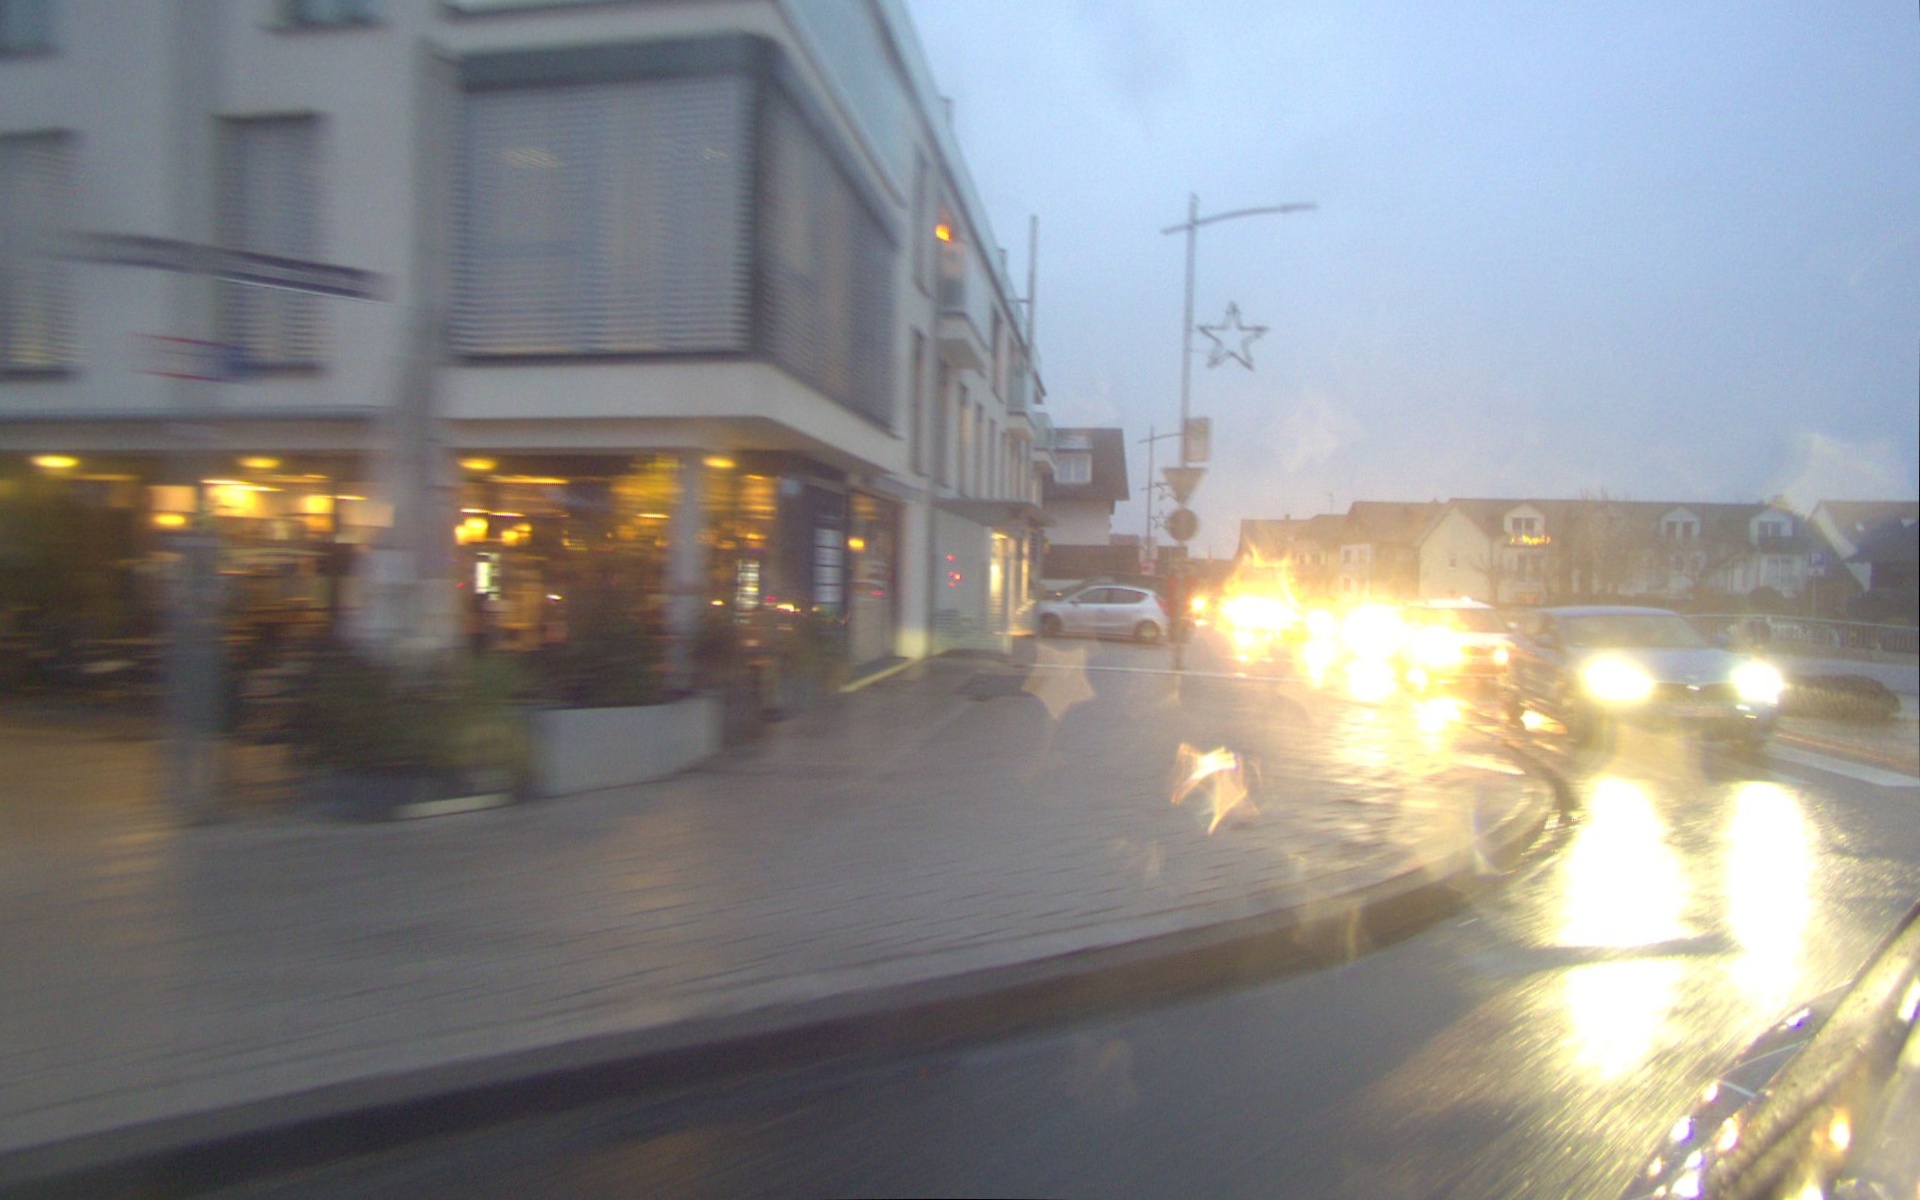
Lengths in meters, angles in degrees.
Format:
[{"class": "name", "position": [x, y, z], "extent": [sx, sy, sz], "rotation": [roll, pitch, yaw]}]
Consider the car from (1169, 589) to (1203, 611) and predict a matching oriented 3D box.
[{"class": "car", "position": [21.393, -0.036, 96.104], "extent": [1.960, 2.039, 4.005], "rotation": [0, 1, -6]}]

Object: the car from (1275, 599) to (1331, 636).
[{"class": "car", "position": [14.372, 0.702, 42.529], "extent": [1.715, 1.461, 3.987], "rotation": [0, 0, 11]}]

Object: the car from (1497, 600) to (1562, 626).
[{"class": "car", "position": [37.146, 0.829, 66.094], "extent": [1.766, 1.487, 4.258], "rotation": [1, 1, -1]}]

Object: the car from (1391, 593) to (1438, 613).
[{"class": "car", "position": [36.812, 0.196, 82.110], "extent": [1.643, 1.487, 4.021], "rotation": [3, 0, -5]}]

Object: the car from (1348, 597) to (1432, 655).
[{"class": "car", "position": [11.809, 0.661, 28.011], "extent": [1.549, 1.487, 3.601], "rotation": [0, 0, 14]}]

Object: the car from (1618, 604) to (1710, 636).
[{"class": "car", "position": [37.155, 1.032, 53.546], "extent": [1.766, 1.487, 4.258], "rotation": [1, 1, -1]}]

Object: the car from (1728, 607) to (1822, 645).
[{"class": "car", "position": [36.554, 1.149, 45.509], "extent": [1.452, 1.527, 3.501], "rotation": [1, 1, 2]}]

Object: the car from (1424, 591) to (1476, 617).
[{"class": "car", "position": [36.990, 0.301, 76.521], "extent": [1.765, 1.850, 4.258], "rotation": [1, 1, -1]}]

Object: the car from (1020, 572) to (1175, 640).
[{"class": "car", "position": [3.643, 0.133, 27.401], "extent": [3.928, 1.521, 1.813], "rotation": [4, 2, 3]}]

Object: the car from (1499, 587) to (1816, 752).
[{"class": "car", "position": [7.937, 0.668, 12.014], "extent": [1.863, 1.599, 3.980], "rotation": [-1, 0, 16]}]

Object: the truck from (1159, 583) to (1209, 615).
[{"class": "truck", "position": [16.187, -0.117, 73.455], "extent": [2.206, 2.258, 6.106], "rotation": [0, 1, -1]}]

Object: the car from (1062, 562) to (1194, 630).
[{"class": "car", "position": [6.128, -0.170, 37.196], "extent": [4.482, 1.957, 1.970], "rotation": [6, 1, 9]}]

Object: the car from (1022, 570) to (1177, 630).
[{"class": "car", "position": [4.203, -0.009, 30.707], "extent": [4.447, 1.511, 1.970], "rotation": [3, 0, 8]}]

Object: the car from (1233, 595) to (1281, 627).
[{"class": "car", "position": [15.308, 0.530, 52.300], "extent": [1.803, 1.563, 3.708], "rotation": [0, 1, 7]}]

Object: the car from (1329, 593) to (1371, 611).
[{"class": "car", "position": [36.225, 0.156, 94.020], "extent": [1.764, 1.487, 4.621], "rotation": [1, 1, -5]}]

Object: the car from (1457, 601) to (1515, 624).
[{"class": "car", "position": [37.075, 0.845, 71.484], "extent": [1.766, 1.487, 4.258], "rotation": [1, 1, -1]}]

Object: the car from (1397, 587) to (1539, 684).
[{"class": "car", "position": [9.765, 0.630, 19.754], "extent": [1.658, 1.645, 3.981], "rotation": [1, 0, 15]}]
